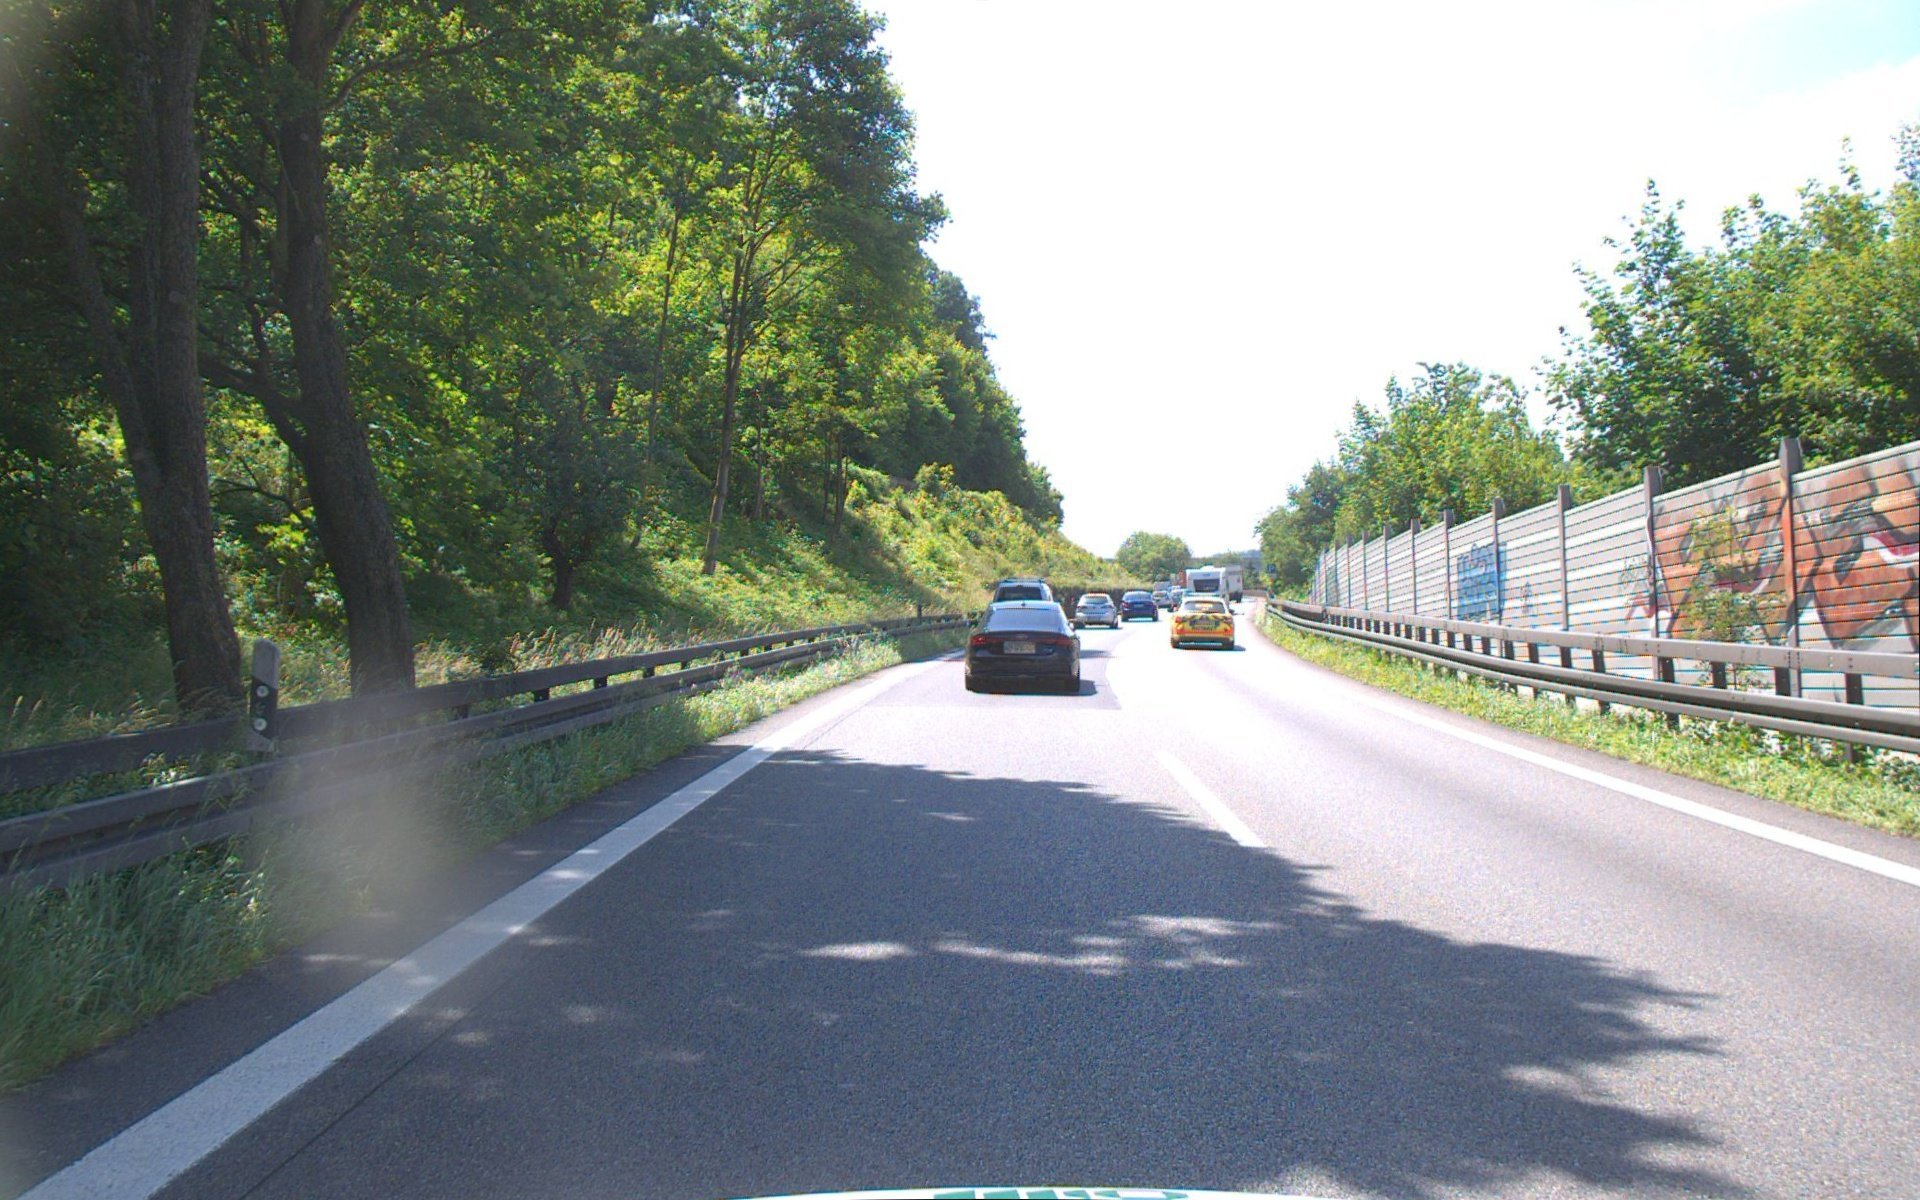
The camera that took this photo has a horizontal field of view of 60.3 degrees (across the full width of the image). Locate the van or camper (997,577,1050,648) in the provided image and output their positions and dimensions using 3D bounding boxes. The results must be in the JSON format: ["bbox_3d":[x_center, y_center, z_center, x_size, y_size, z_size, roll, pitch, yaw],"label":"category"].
[{"bbox_3d":[1.751,0.350,44.893,1.362,1.848,4.001,0,-1,3],"label":"van or camper"}]

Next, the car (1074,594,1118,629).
[{"bbox_3d":[5.753,0.495,69.701,1.710,1.456,4.003,0,-1,7],"label":"car"}]

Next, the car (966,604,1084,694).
[{"bbox_3d":[1.150,0.779,27.548,1.799,1.373,4.002,0,-1,5],"label":"car"}]

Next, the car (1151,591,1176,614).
[{"bbox_3d":[15.997,0.219,129.894,1.802,1.747,4.003,0,-1,10],"label":"car"}]

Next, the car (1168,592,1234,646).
[{"bbox_3d":[6.942,0.548,47.929,1.823,1.514,4.003,0,-1,7],"label":"car"}]

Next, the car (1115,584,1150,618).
[{"bbox_3d":[8.740,0.051,84.065,1.736,1.665,4.002,0,-1,5],"label":"car"}]

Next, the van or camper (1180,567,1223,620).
[{"bbox_3d":[13.985,-0.349,95.861,2.403,2.969,6.130,0,-1,8],"label":"van or camper"}]

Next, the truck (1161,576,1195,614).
[{"bbox_3d":[18.841,-0.425,142.970,2.780,3.186,7.486,0,0,8],"label":"truck"}]

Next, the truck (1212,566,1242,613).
[{"bbox_3d":[24.596,-0.946,152.058,2.674,4.168,7.486,0,0,10],"label":"truck"}]
